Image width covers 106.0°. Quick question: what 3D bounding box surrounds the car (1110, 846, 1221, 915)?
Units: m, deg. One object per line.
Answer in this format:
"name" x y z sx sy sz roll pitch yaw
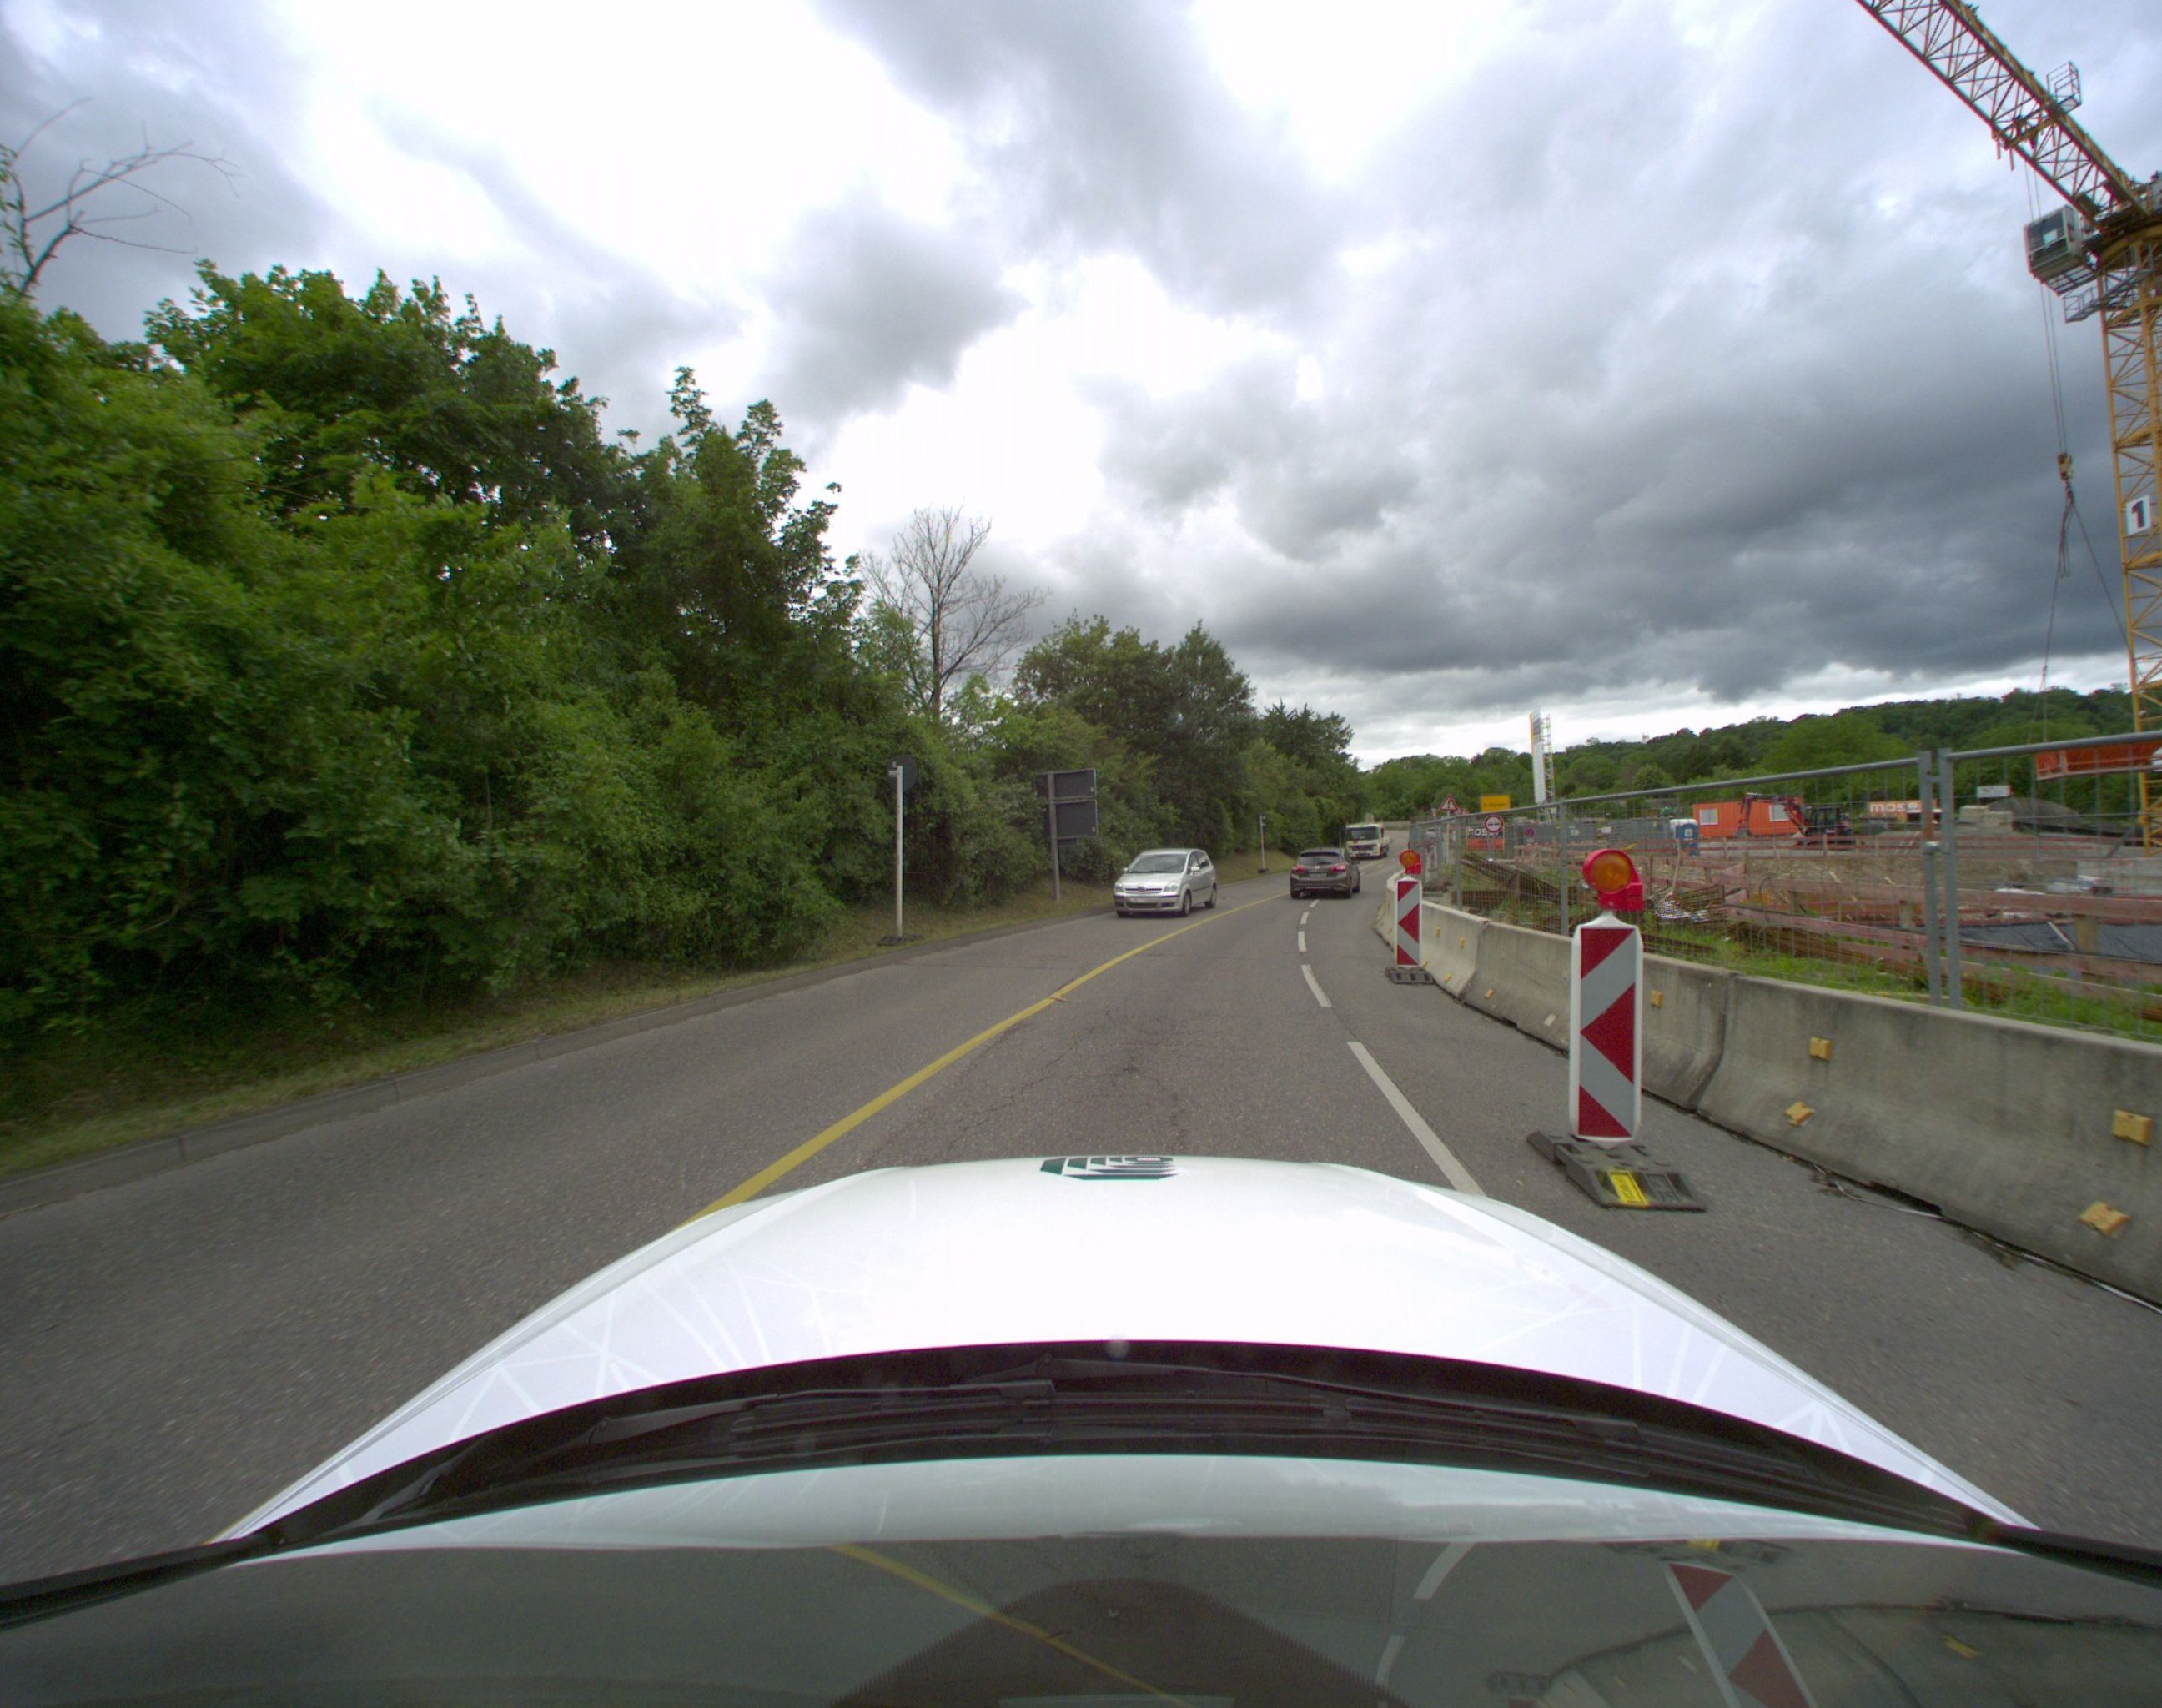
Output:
"car" 2.239 0.603 20.552 1.642 1.552 4.209 -1 0 22

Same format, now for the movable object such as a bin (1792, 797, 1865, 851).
"movable object such as a bin" 46.560 -1.834 50.813 2.766 3.077 1.852 -4 -1 25

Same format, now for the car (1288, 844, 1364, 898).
"car" 7.788 0.485 25.664 1.781 1.552 4.023 -1 0 24

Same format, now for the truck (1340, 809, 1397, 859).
"truck" 21.524 -1.509 60.707 2.793 3.335 8.432 -3 1 27

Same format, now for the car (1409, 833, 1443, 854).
"car" 27.057 -0.823 63.836 1.802 1.552 3.813 -1 0 32

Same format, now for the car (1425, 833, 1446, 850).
"car" 37.154 -1.264 85.314 1.696 1.675 4.024 -4 -1 26
